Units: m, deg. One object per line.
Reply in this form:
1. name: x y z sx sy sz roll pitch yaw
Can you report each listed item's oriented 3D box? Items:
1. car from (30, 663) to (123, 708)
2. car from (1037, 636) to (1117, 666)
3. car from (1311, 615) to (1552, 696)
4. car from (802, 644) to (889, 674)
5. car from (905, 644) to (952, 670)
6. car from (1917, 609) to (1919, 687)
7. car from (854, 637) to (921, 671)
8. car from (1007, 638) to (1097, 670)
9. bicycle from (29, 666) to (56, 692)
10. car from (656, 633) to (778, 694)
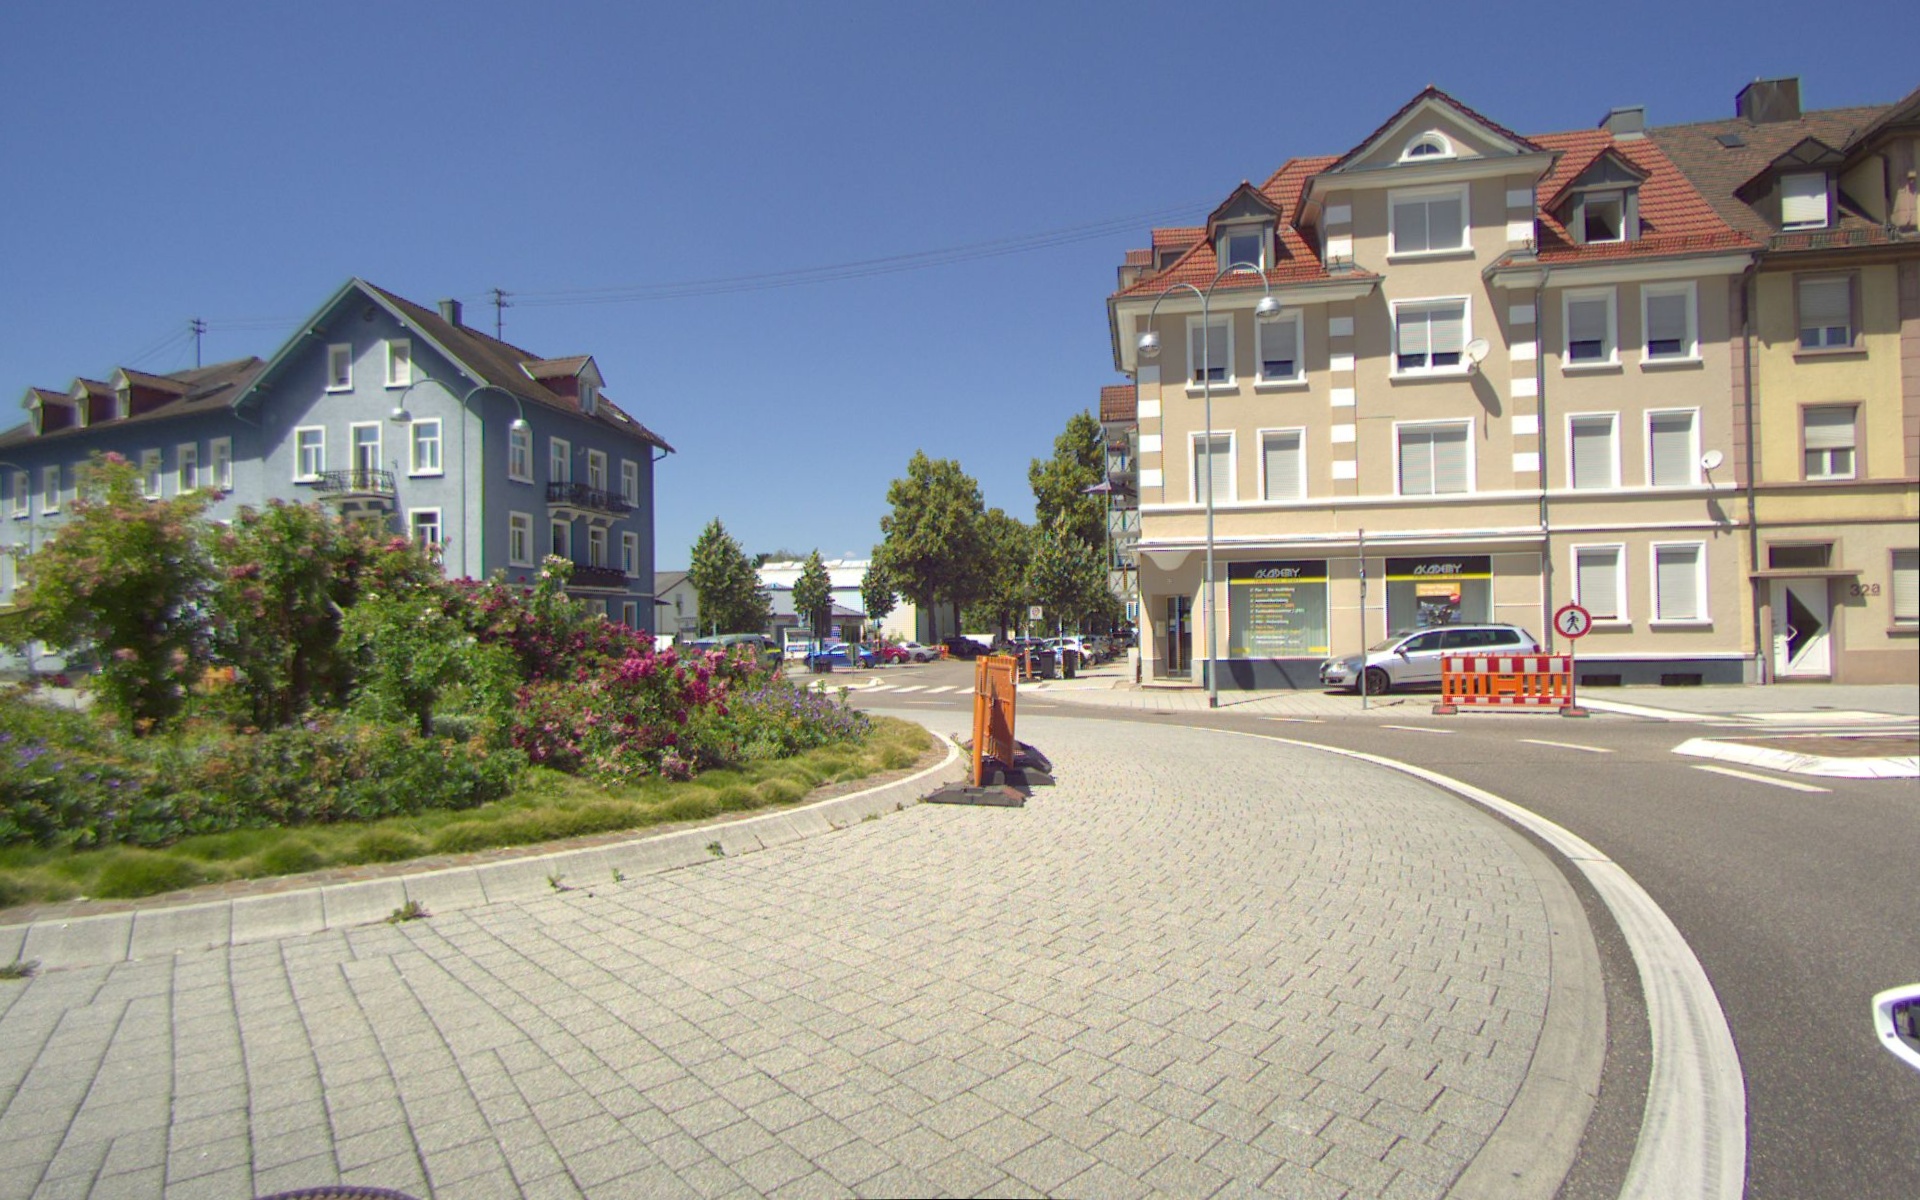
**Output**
1. car: -35.289 3.381 40.114 3.706 1.554 1.581 0 -1 28
2. car: 6.249 2.733 53.414 3.999 1.511 1.984 -2 -3 12
3. car: 10.537 1.260 22.797 4.599 1.708 1.783 -1 -2 10
4. car: -6.351 3.271 55.925 4.394 1.530 2.001 -2 -1 10
5. car: -2.091 3.910 68.943 2.238 1.715 4.130 -1 -3 13
6. car: 22.040 0.956 20.044 4.008 1.638 1.605 -1 0 10
7. car: -4.738 3.535 65.875 3.919 2.040 2.001 -2 0 13
8. car: 4.682 2.744 50.826 4.320 1.511 1.984 -2 -3 12
9. bicycle: -38.657 3.304 42.321 1.942 0.990 0.495 -1 3 38
10. car: -7.721 1.984 32.418 1.960 1.693 4.487 -2 -1 14
